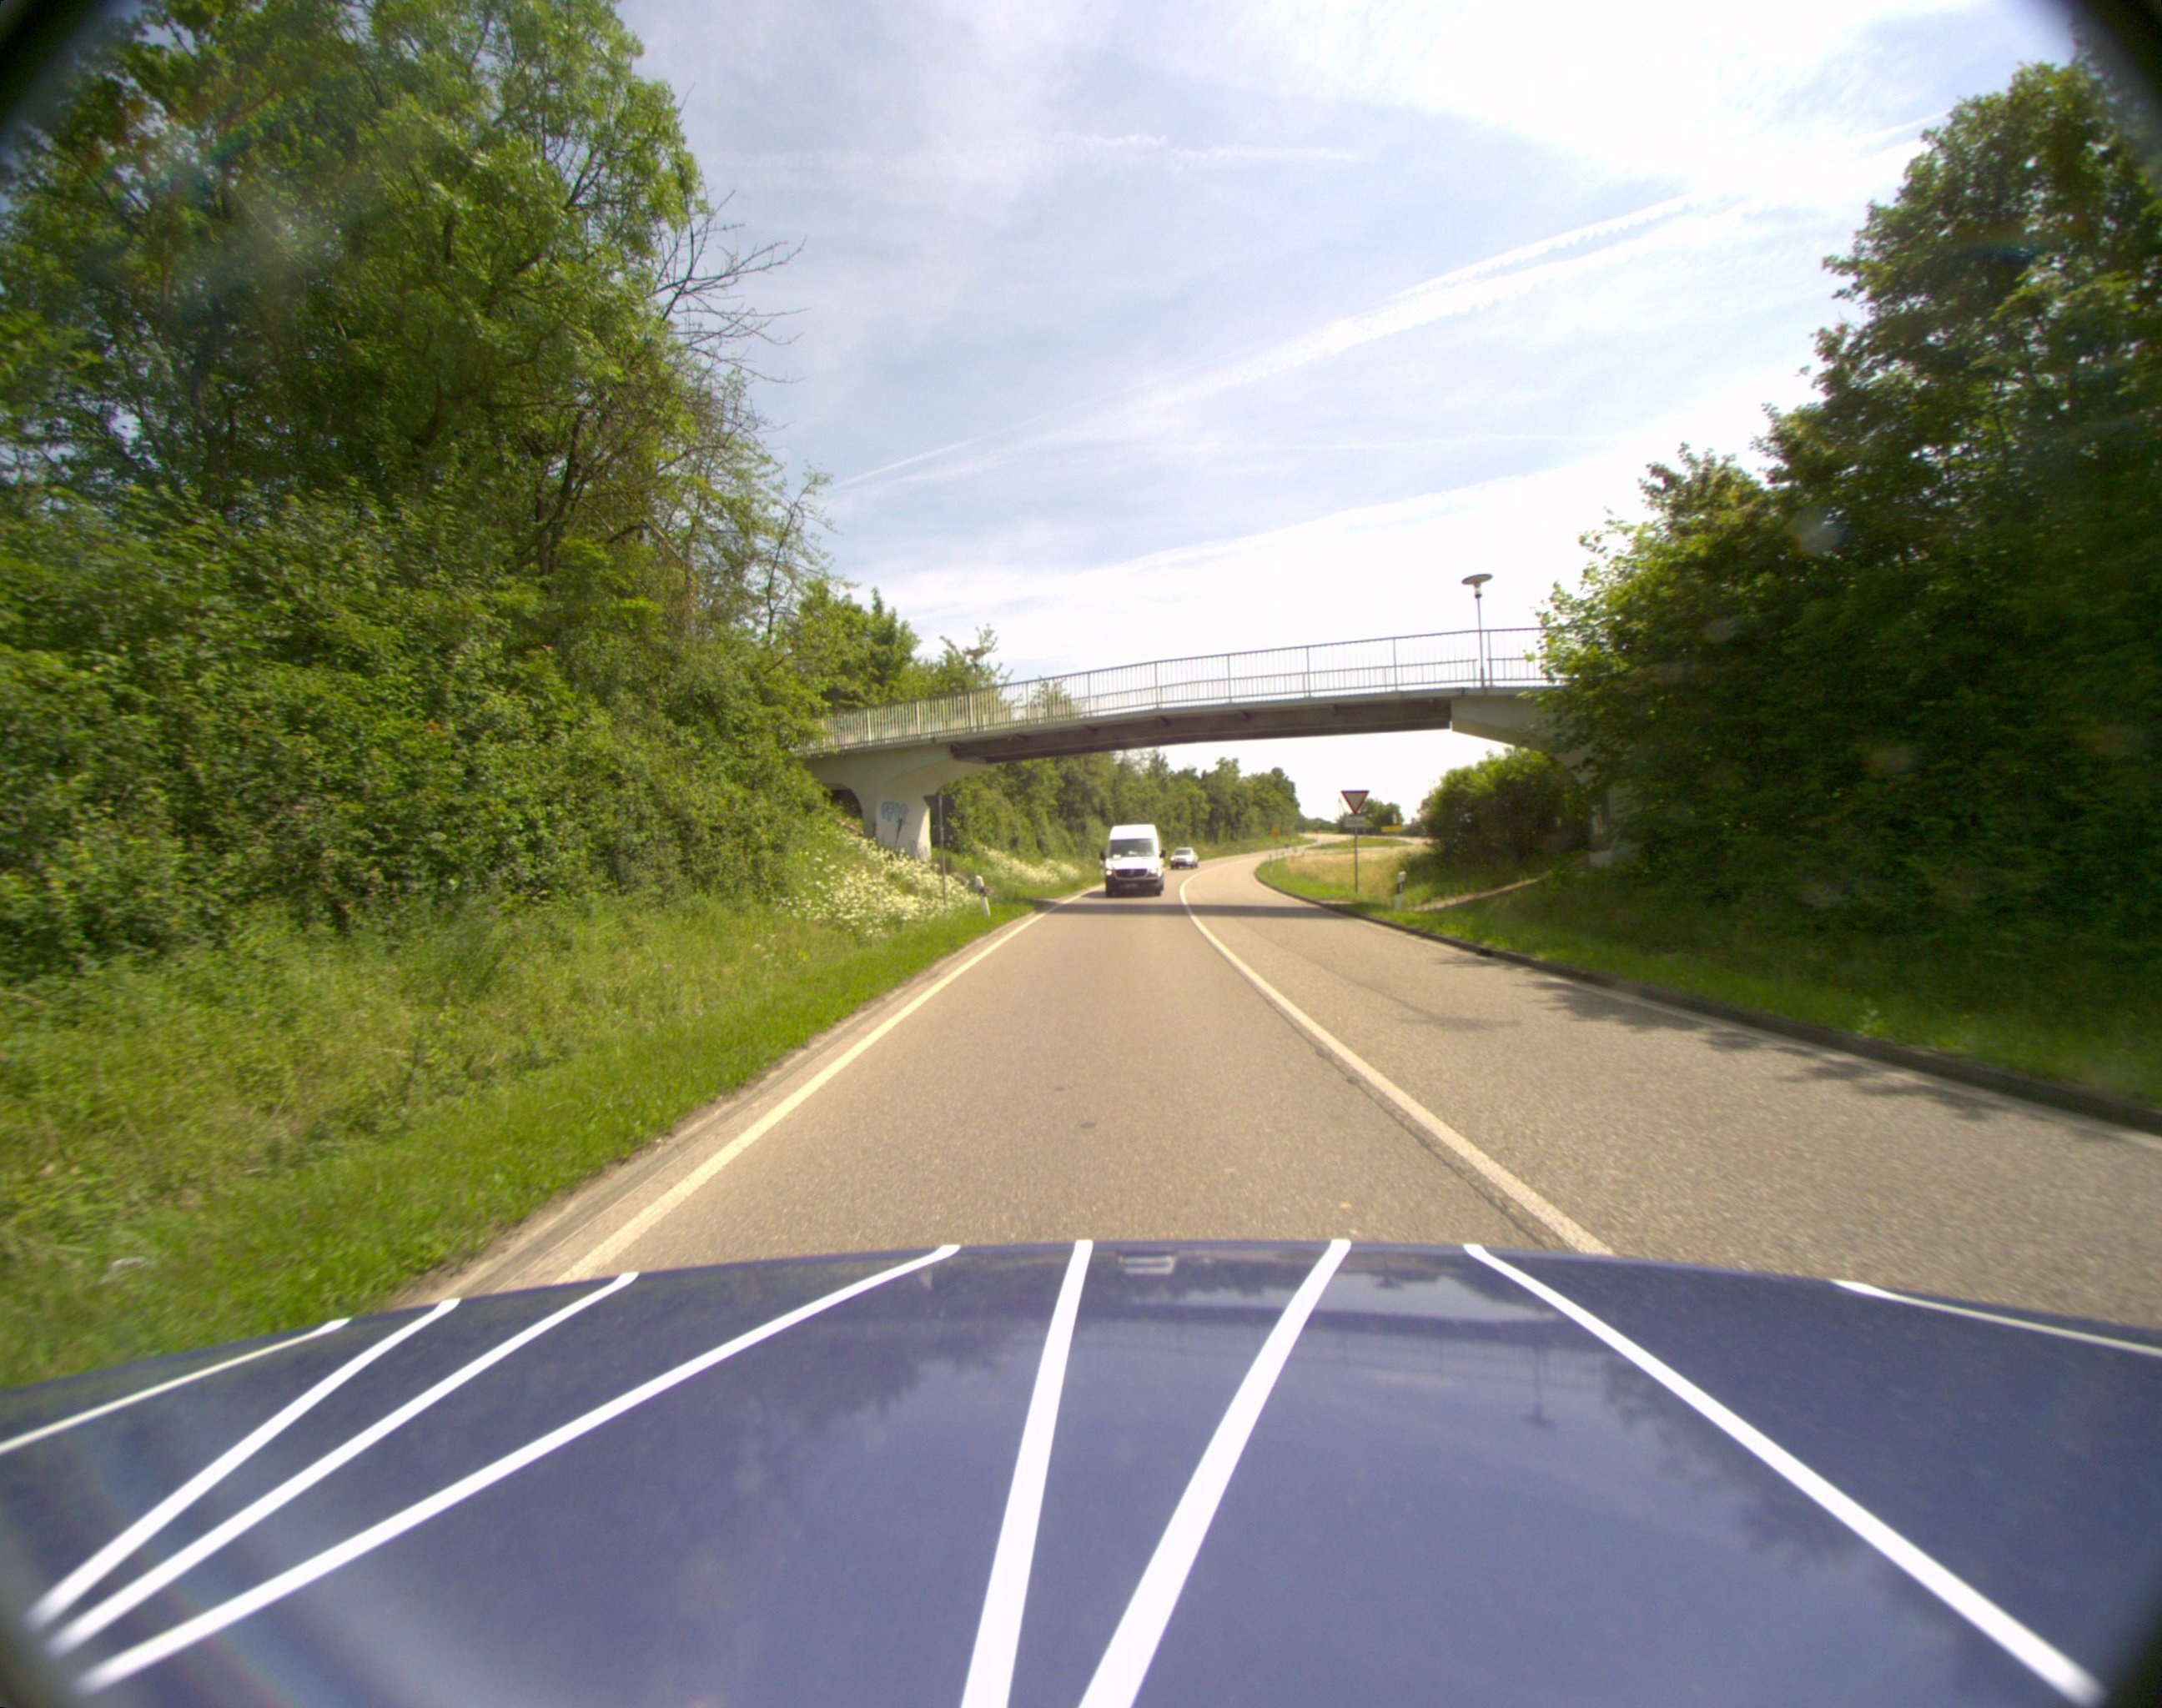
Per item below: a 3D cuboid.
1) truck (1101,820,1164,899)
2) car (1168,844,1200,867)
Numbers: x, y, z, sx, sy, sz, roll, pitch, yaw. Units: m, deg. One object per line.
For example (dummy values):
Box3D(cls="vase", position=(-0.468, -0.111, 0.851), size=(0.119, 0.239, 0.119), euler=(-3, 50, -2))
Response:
Box3D(cls="truck", position=(2.074, 0.159, 28.668), size=(1.997, 2.571, 5.889), euler=(-2, 0, 7))
Box3D(cls="car", position=(8.303, 0.074, 60.831), size=(1.847, 1.698, 4.093), euler=(-2, 1, 17))
